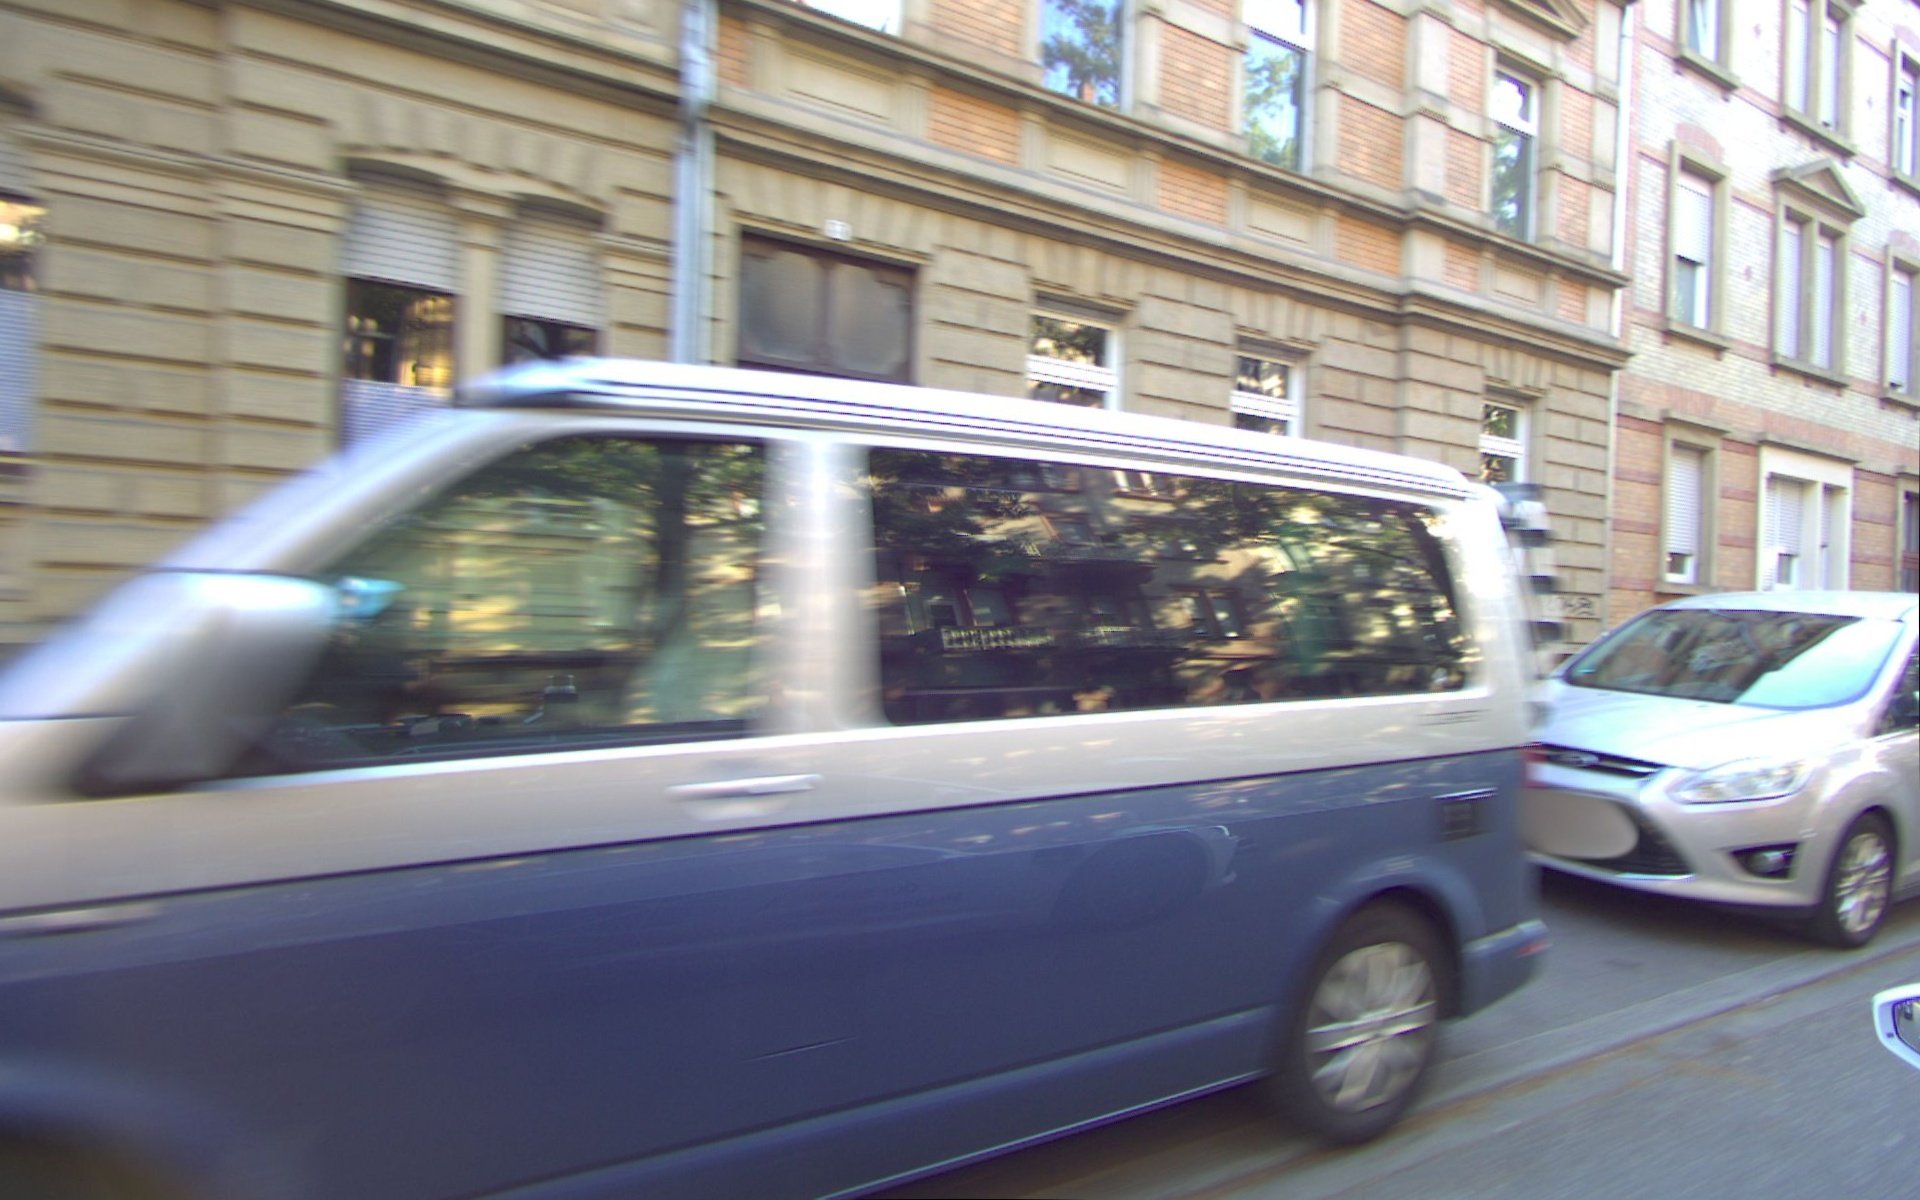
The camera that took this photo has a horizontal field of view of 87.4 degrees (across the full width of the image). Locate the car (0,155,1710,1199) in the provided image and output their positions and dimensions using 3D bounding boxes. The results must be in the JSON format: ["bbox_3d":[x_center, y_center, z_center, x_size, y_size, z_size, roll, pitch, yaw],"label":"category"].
[{"bbox_3d":[-0.227,0.420,2.925,5.195,1.969,1.824,1,1,-29],"label":"car"}]

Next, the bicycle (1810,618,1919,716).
[{"bbox_3d":[14.688,0.994,15.537,3.952,1.336,1.037,1,1,-30],"label":"bicycle"}]

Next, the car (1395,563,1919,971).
[{"bbox_3d":[4.752,0.692,5.792,4.328,1.630,1.746,1,1,-28],"label":"car"}]

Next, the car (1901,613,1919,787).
[{"bbox_3d":[10.330,0.927,8.935,3.953,1.487,1.750,1,2,-30],"label":"car"}]

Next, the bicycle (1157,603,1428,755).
[{"bbox_3d":[3.203,0.703,9.539,2.793,1.272,0.737,1,1,-30],"label":"bicycle"}]
